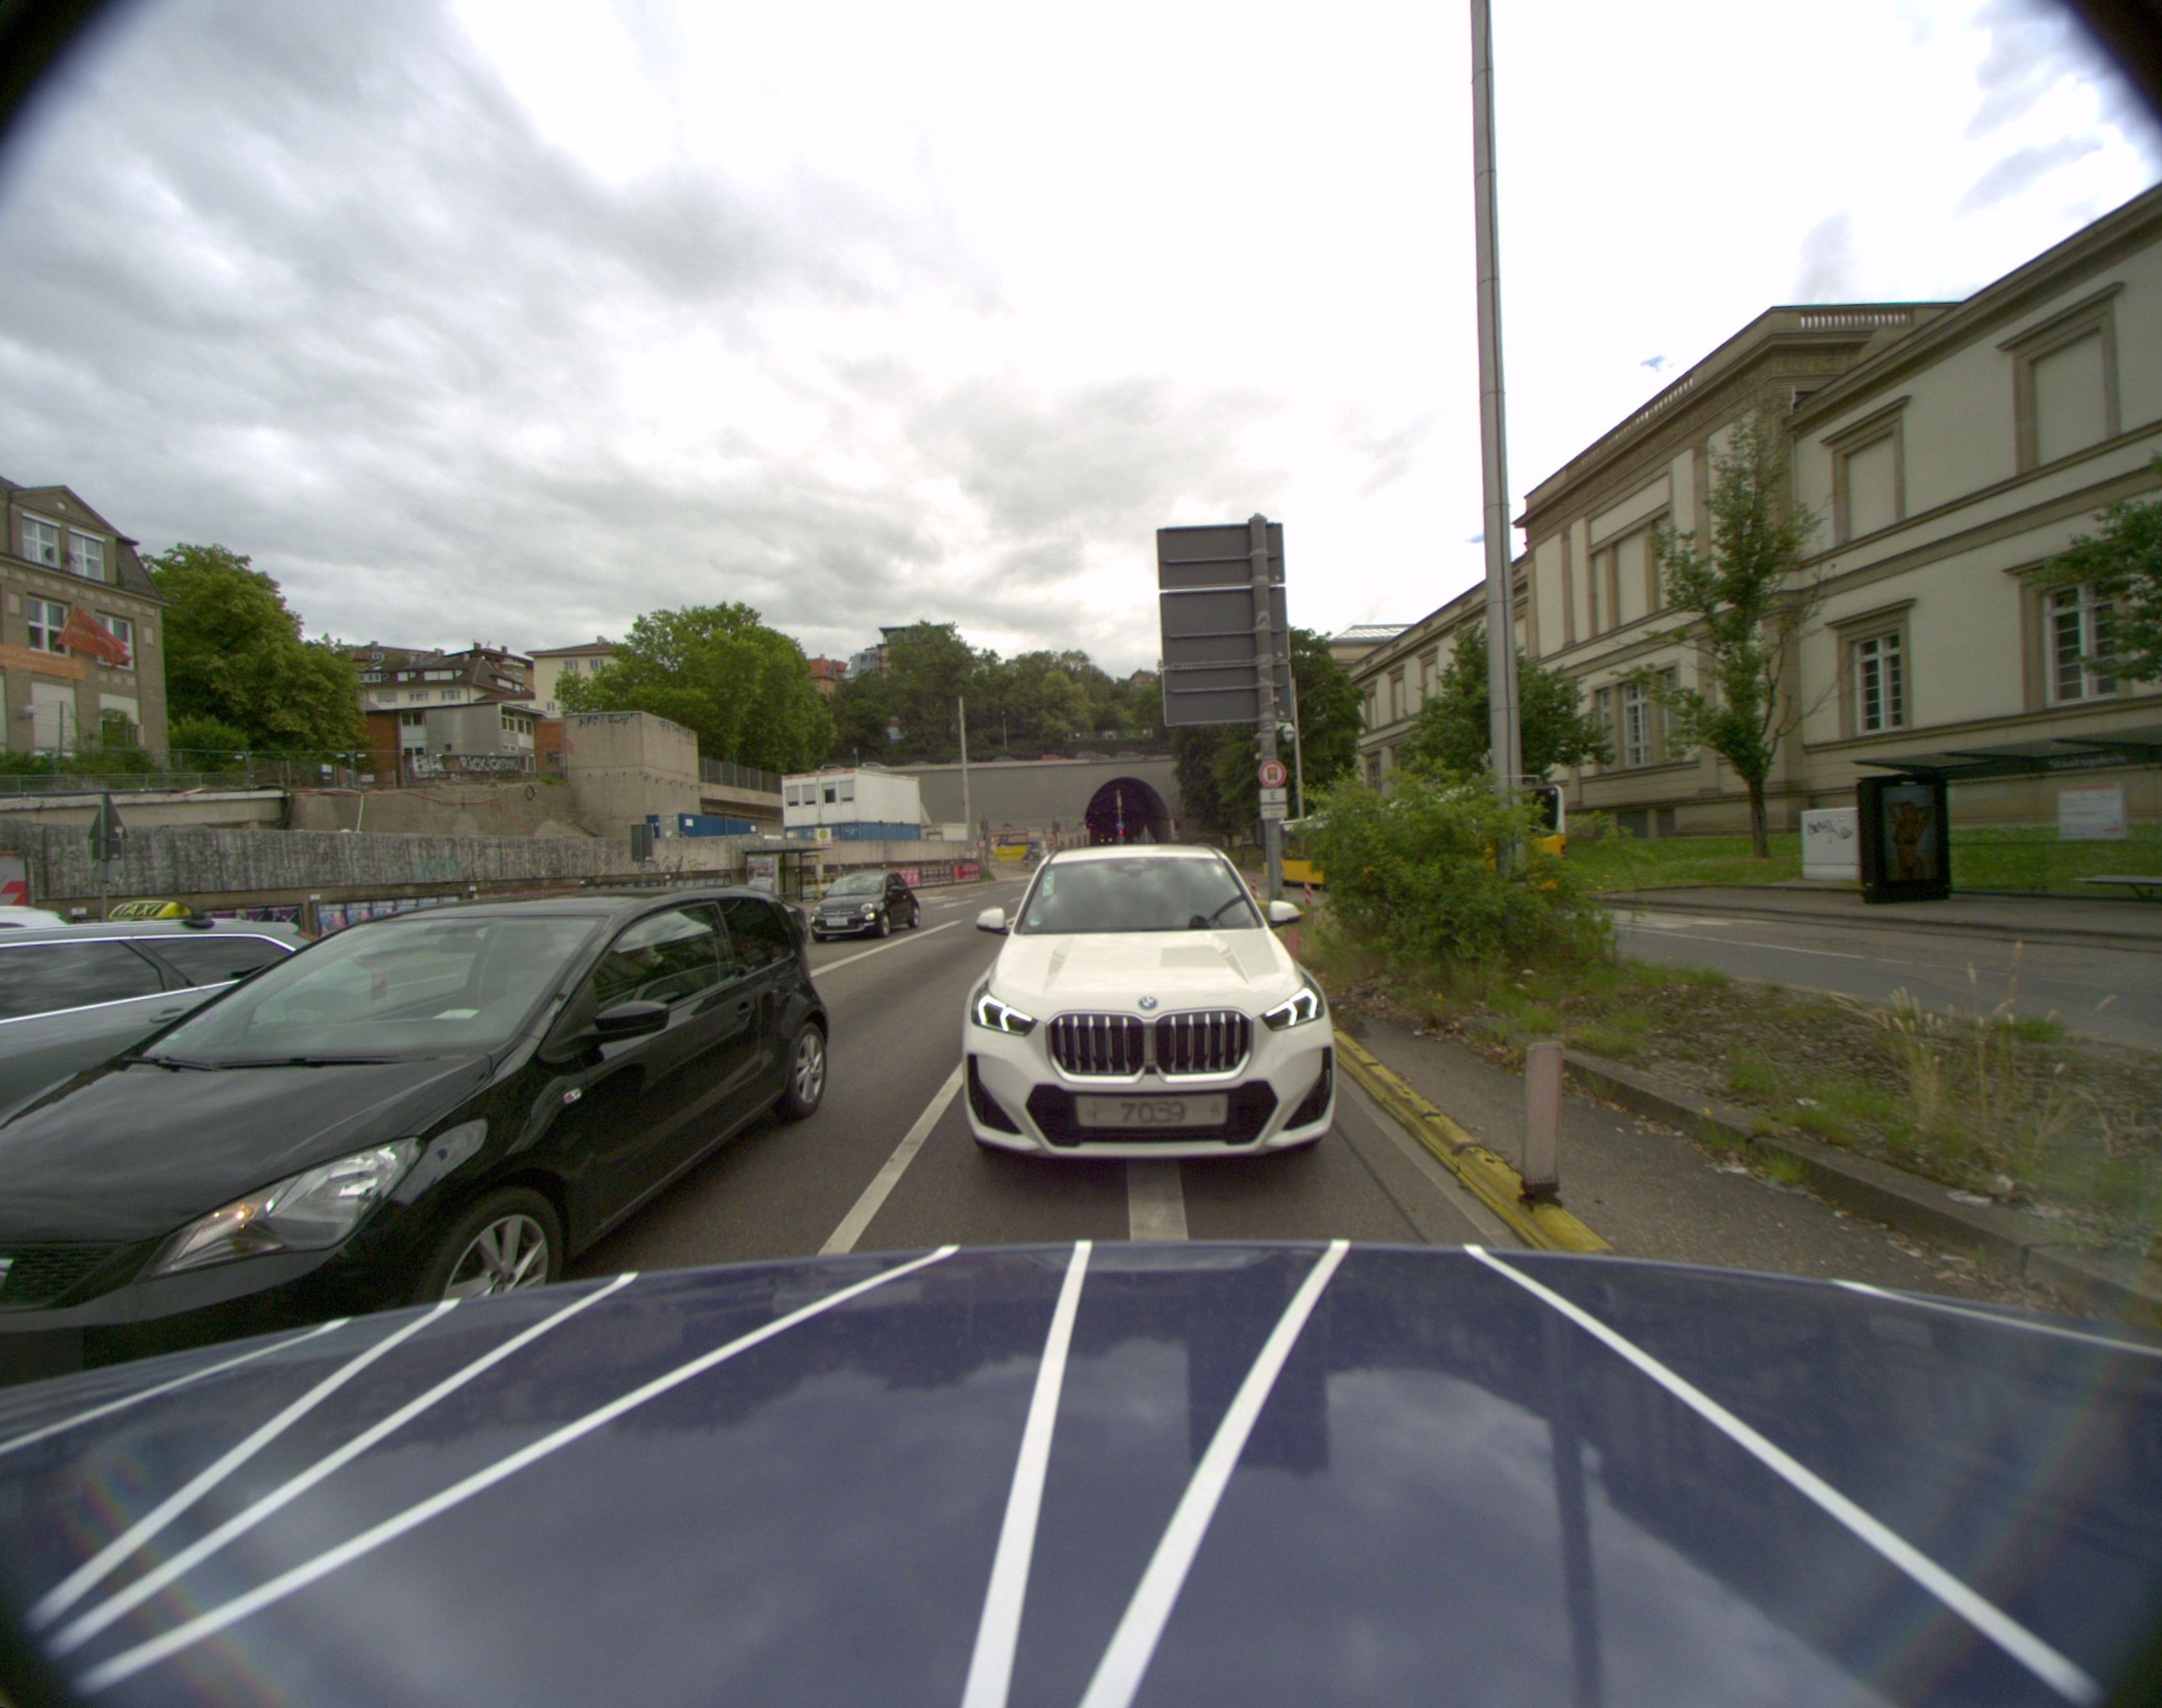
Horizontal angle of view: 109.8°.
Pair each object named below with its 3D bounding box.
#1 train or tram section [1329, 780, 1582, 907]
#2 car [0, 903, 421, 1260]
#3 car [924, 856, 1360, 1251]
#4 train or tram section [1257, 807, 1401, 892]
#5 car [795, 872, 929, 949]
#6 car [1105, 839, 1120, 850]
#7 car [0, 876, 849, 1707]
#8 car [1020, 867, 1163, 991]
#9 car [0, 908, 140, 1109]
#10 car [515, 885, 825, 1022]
[{"bbox_3d":[10.674,-0.258,23.196,2.701,3.053,9.334,-1,0,-3],"label":"train or tram section"},{"bbox_3d":[-5.828,1.143,3.451,1.826,1.457,4.217,-2,1,2],"label":"car"},{"bbox_3d":[0.336,0.849,5.118,1.756,1.547,3.911,-2,1,3],"label":"car"},{"bbox_3d":[10.190,-0.163,32.579,2.701,3.053,9.374,-1,0,-3],"label":"train or tram section"},{"bbox_3d":[-4.957,1.224,17.751,1.720,1.450,3.782,-3,0,4],"label":"car"},{"bbox_3d":[4.549,-1.376,110.695,1.948,1.565,3.999,-2,1,1],"label":"car"},{"bbox_3d":[-2.533,0.979,3.271,1.661,1.547,3.911,-2,1,3],"label":"car"},{"bbox_3d":[0.218,0.991,11.594,1.756,1.427,3.911,-2,0,3],"label":"car"},{"bbox_3d":[-9.154,1.258,4.575,1.826,1.457,4.073,-2,1,0],"label":"car"},{"bbox_3d":[-5.403,1.226,10.757,1.826,1.356,4.219,-2,0,4],"label":"car"}]
